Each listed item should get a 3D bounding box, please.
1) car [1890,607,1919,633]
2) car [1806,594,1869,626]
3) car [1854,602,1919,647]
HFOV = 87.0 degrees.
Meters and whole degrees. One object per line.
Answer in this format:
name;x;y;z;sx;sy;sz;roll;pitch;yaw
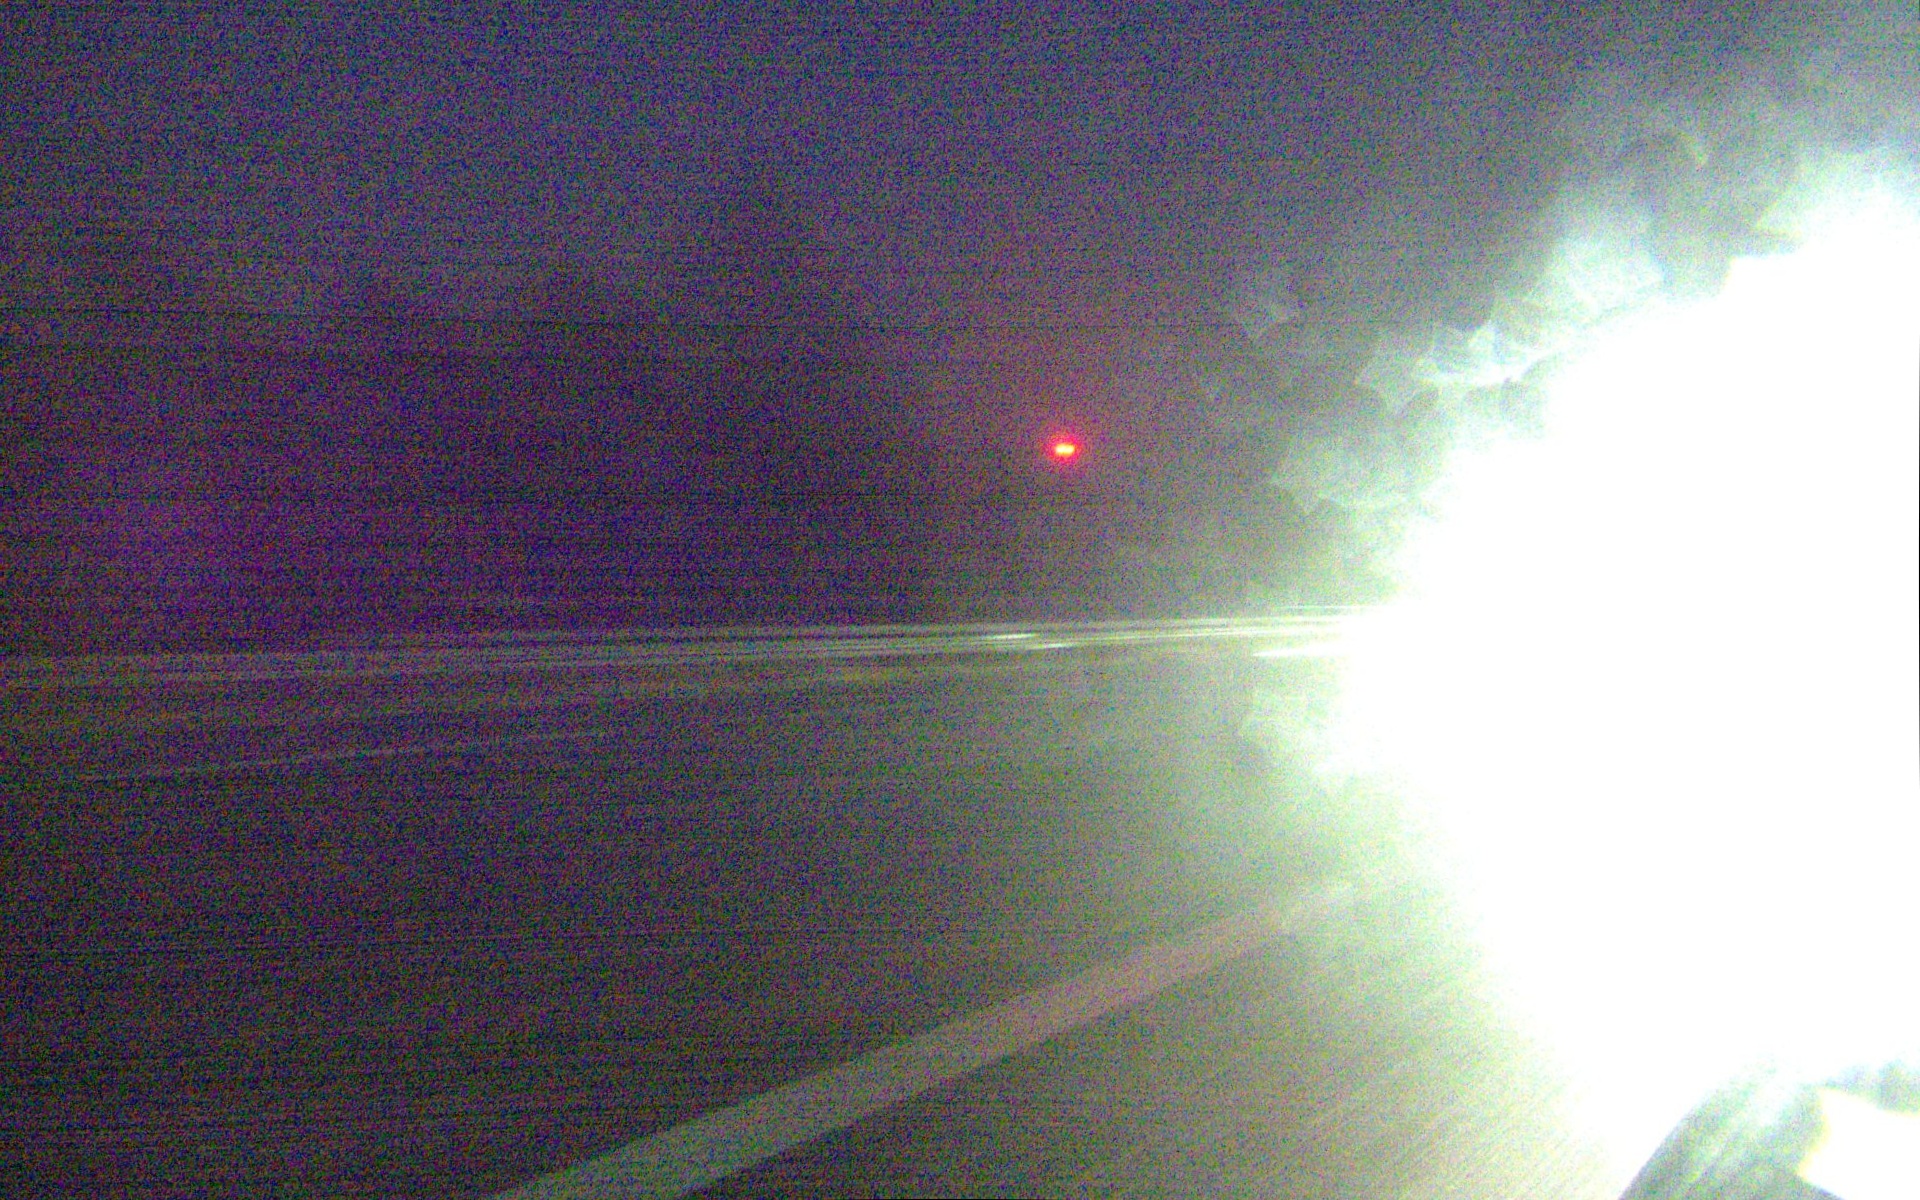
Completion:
car;74.656;1.528;79.524;3.932;1.886;1.996;-1;1;-42
car;48.396;0.524;55.779;4.571;1.619;1.997;-1;1;-41
car;38.136;0.954;41.516;3.932;1.712;1.790;0;1;-42
